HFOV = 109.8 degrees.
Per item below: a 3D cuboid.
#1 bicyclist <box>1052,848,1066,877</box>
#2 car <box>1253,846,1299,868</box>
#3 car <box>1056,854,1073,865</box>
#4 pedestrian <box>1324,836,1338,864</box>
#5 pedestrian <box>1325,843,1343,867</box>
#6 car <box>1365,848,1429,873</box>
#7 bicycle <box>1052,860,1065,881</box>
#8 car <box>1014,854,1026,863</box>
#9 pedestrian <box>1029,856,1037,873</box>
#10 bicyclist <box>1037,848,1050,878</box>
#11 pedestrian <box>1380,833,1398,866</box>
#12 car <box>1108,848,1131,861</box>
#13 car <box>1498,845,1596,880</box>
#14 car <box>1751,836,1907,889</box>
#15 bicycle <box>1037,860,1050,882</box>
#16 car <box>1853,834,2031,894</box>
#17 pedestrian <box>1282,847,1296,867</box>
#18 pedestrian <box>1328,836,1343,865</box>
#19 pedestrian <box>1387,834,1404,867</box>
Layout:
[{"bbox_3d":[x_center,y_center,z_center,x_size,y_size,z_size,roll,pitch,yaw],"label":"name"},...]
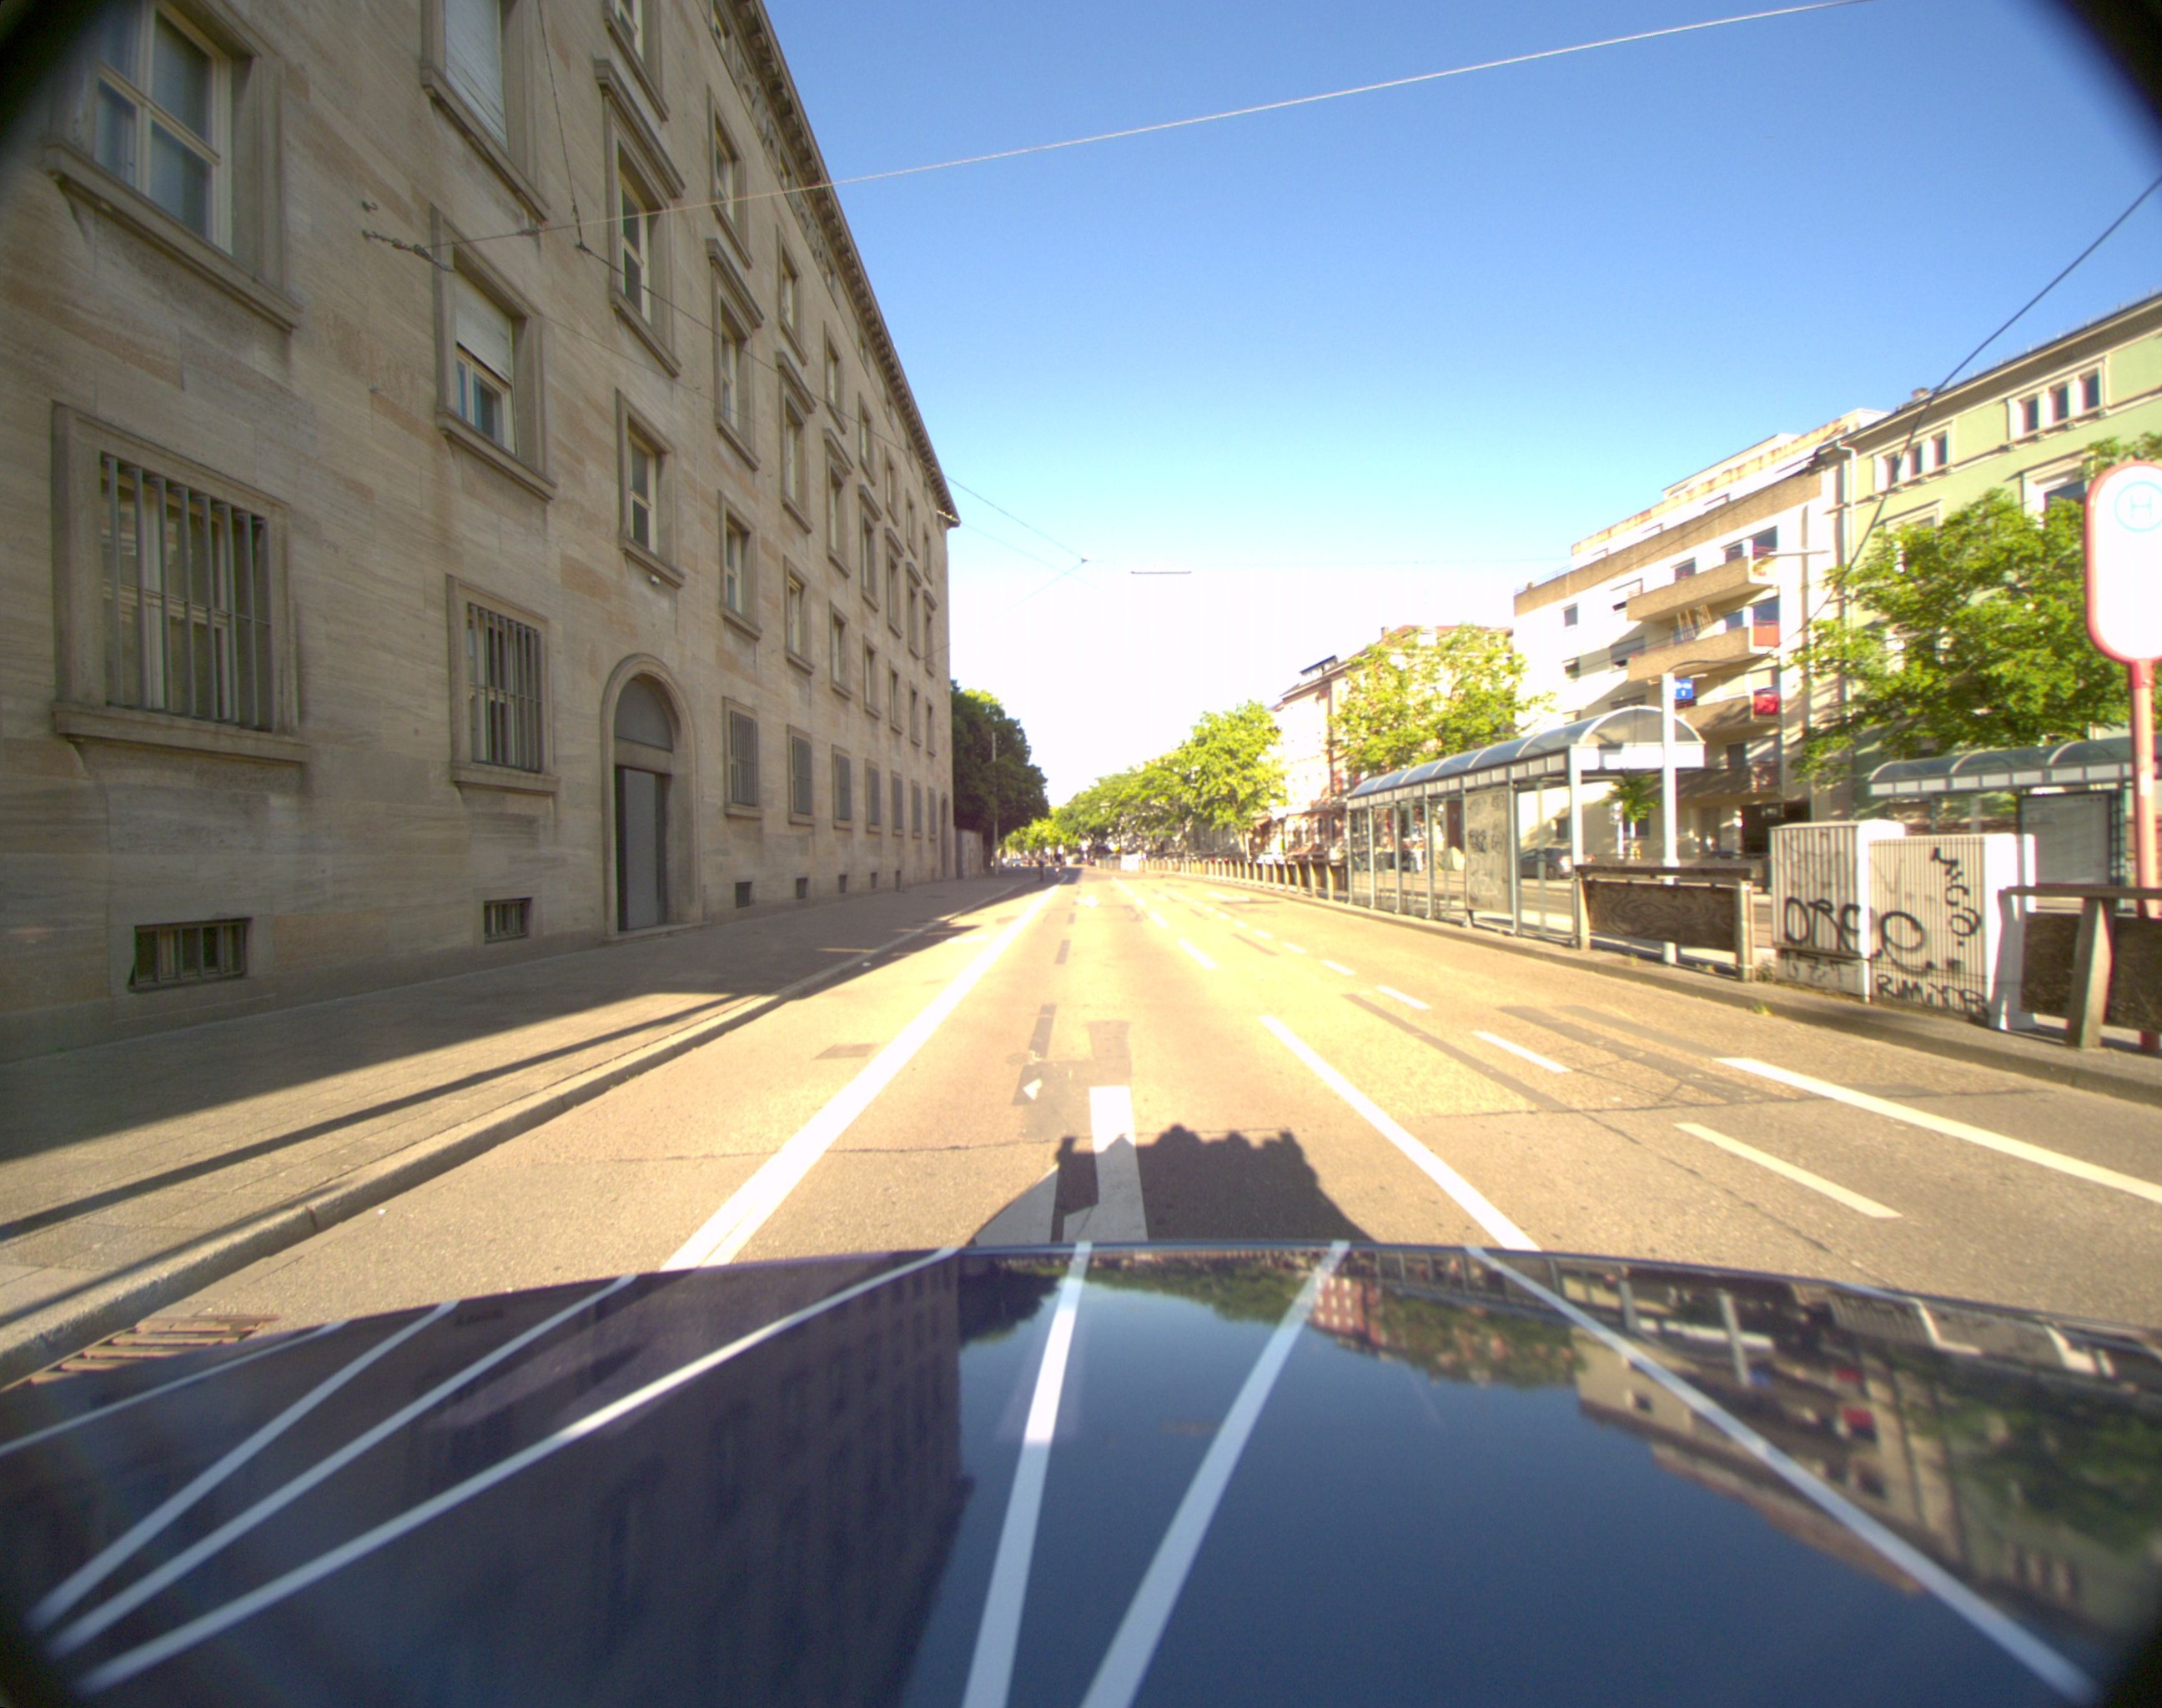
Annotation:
[{"bbox_3d":[-1.249,0.477,42.884,0.728,1.570,0.775,-2,1,1],"label":"bicyclist"},{"bbox_3d":[16.326,0.235,63.651,4.134,1.698,1.848,-1,1,-45],"label":"car"},{"bbox_3d":[-2.684,0.841,121.768,2.001,1.789,3.995,-1,0,-13],"label":"car"},{"bbox_3d":[19.475,-0.314,59.243,0.812,2.194,0.756,-1,1,-4],"label":"pedestrian"},{"bbox_3d":[18.439,0.059,55.438,0.855,1.710,1.019,-1,1,-8],"label":"pedestrian"},{"bbox_3d":[18.497,0.358,44.666,1.609,1.388,3.997,-1,0,-9],"label":"car"},{"bbox_3d":[-1.245,0.913,42.883,0.625,1.167,1.566,-2,0,1],"label":"bicycle"},{"bbox_3d":[-10.065,0.761,125.787,1.772,1.429,3.831,-1,0,-7],"label":"car"},{"bbox_3d":[-3.722,0.790,58.887,0.548,1.327,0.587,-1,1,7],"label":"pedestrian"},{"bbox_3d":[-2.187,0.505,44.114,0.625,1.729,0.688,-3,1,1],"label":"bicyclist"},{"bbox_3d":[21.243,-0.306,52.408,0.813,2.194,0.756,-1,1,-10],"label":"pedestrian"},{"bbox_3d":[4.460,0.037,88.528,1.648,1.480,3.995,-2,1,-12],"label":"car"},{"bbox_3d":[20.889,0.359,34.209,1.654,1.419,3.737,-1,0,-11],"label":"car"},{"bbox_3d":[23.887,0.247,24.295,4.002,1.573,1.761,-1,0,-14],"label":"car"},{"bbox_3d":[-2.161,0.964,44.088,0.625,1.214,1.659,-3,1,1],"label":"bicycle"},{"bbox_3d":[24.644,0.246,21.792,4.002,1.573,1.761,-1,0,-14],"label":"car"},{"bbox_3d":[17.164,0.274,62.650,0.866,1.619,0.893,-1,1,31],"label":"pedestrian"},{"bbox_3d":[19.359,-0.293,57.761,0.813,2.194,0.756,-1,1,-10],"label":"pedestrian"},{"bbox_3d":[21.307,-0.228,51.480,0.813,2.194,0.756,-1,1,-10],"label":"pedestrian"}]
